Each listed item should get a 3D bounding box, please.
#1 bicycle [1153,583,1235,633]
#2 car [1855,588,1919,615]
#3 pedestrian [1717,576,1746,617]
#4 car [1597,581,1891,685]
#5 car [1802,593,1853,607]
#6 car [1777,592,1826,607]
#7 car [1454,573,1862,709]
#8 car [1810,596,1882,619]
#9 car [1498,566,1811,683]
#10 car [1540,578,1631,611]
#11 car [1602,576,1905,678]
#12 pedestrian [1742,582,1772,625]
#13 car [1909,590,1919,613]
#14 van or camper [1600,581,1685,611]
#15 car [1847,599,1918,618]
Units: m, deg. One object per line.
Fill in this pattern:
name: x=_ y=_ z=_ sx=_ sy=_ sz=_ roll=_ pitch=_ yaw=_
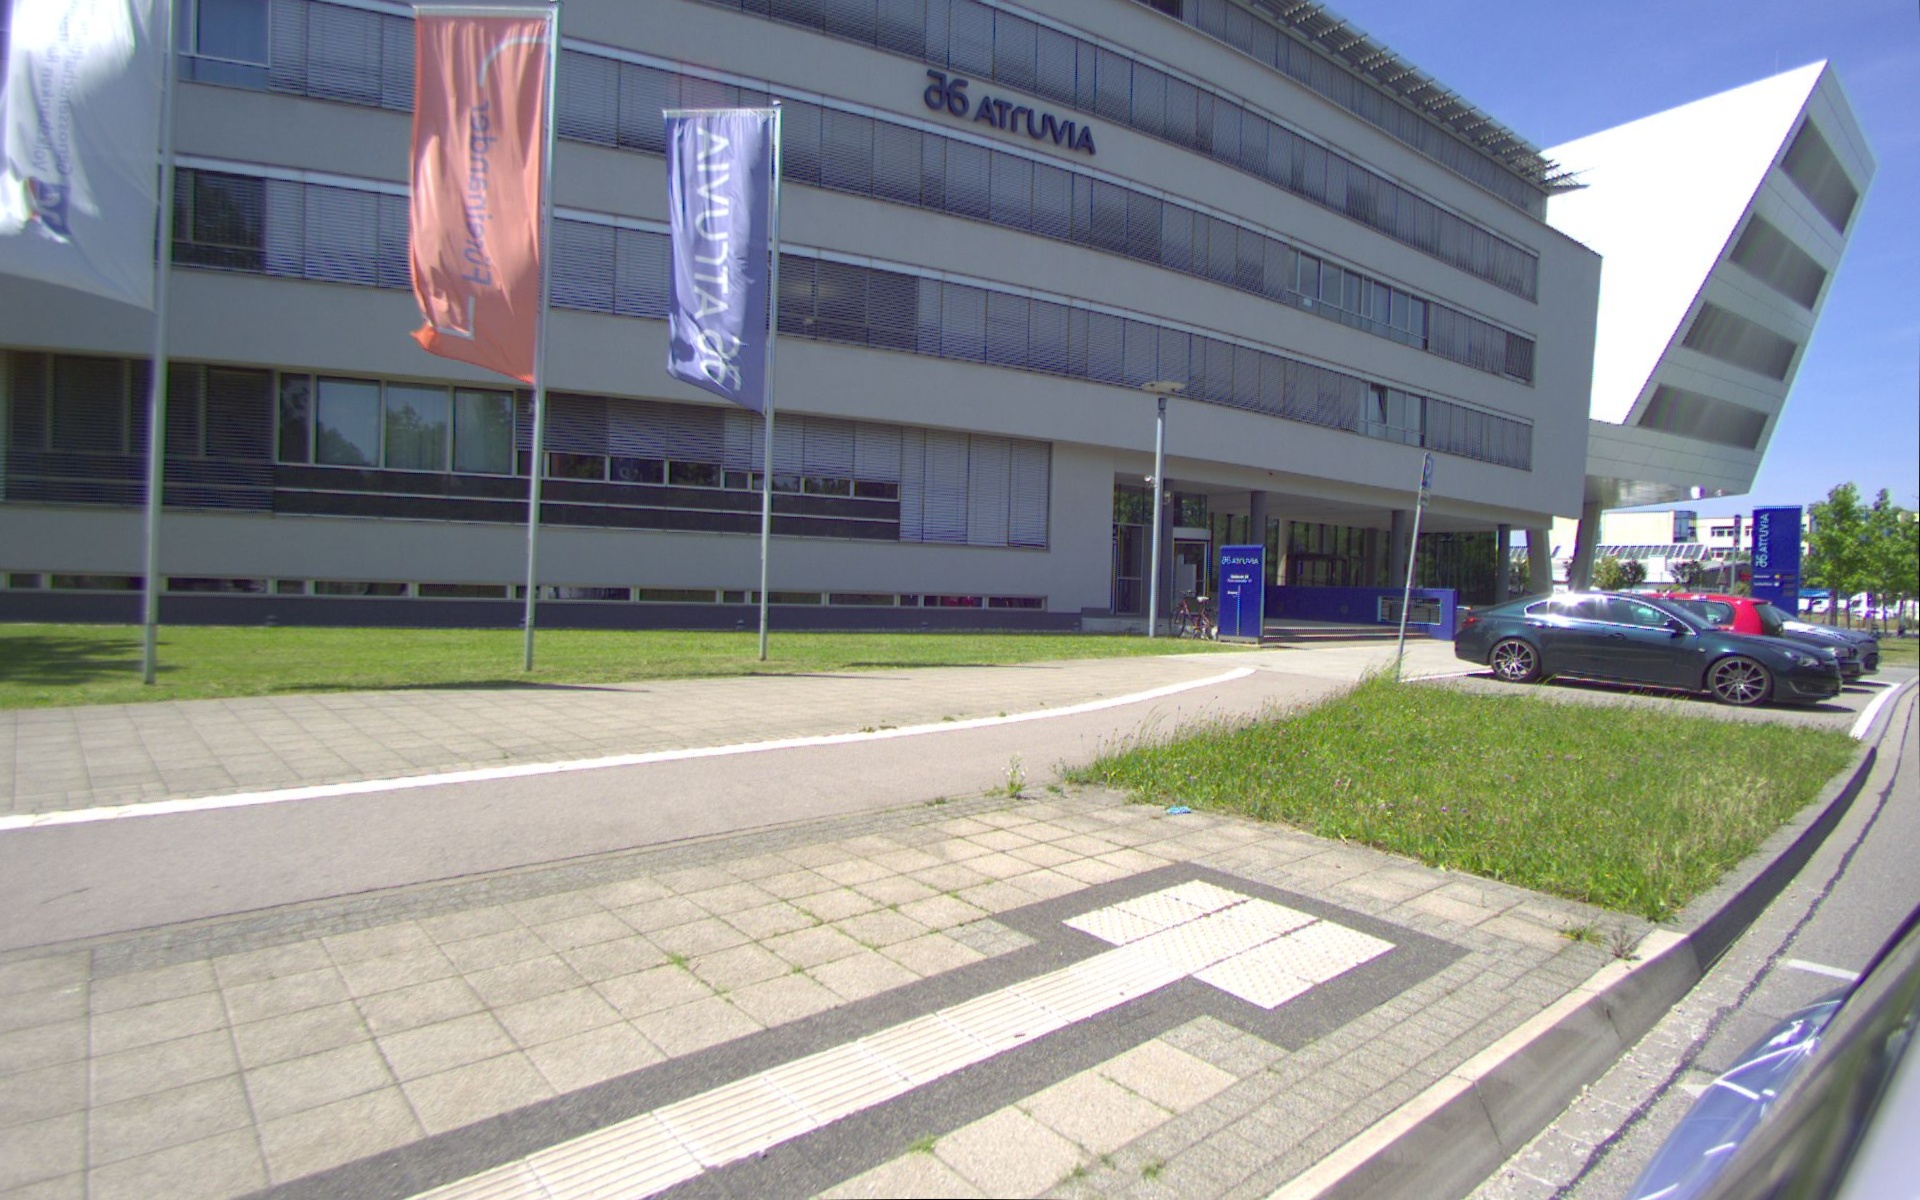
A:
bicycle: x=5.196 y=0.166 z=22.602 sx=0.524 sy=1.073 sz=1.882 roll=0 pitch=1 yaw=-38
car: x=80.063 y=0.121 z=85.411 sx=2.124 sy=2.176 sz=6.499 roll=0 pitch=1 yaw=-36
pedestrian: x=31.702 y=-0.150 z=41.598 sx=0.763 sy=1.681 sz=0.843 roll=0 pitch=0 yaw=-44
car: x=13.680 y=0.488 z=17.840 sx=1.626 sy=1.504 sz=3.816 roll=0 pitch=3 yaw=-40
car: x=102.769 y=-0.007 z=119.987 sx=1.671 sy=1.678 sz=4.325 roll=0 pitch=1 yaw=-36
car: x=93.875 y=-0.061 z=112.979 sx=1.671 sy=1.561 sz=3.921 roll=0 pitch=1 yaw=-36
car: x=9.938 y=0.458 z=14.718 sx=1.797 sy=1.449 sz=4.574 roll=0 pitch=4 yaw=-43
car: x=66.322 y=0.538 z=75.771 sx=1.710 sy=1.695 sz=3.821 roll=0 pitch=1 yaw=-39
car: x=11.558 y=0.307 z=17.059 sx=1.807 sy=1.675 sz=3.996 roll=0 pitch=2 yaw=-40
car: x=47.788 y=-0.450 z=77.410 sx=1.962 sy=2.491 sz=5.587 roll=0 pitch=1 yaw=-36
car: x=15.252 y=0.427 z=19.652 sx=1.755 sy=1.582 sz=4.330 roll=0 pitch=3 yaw=-41
pedestrian: x=32.275 y=0.140 z=40.970 sx=0.763 sy=1.722 sz=0.843 roll=0 pitch=0 yaw=-44
car: x=85.436 y=0.129 z=87.870 sx=1.671 sy=2.000 sz=4.209 roll=0 pitch=1 yaw=-36
van or camper: x=57.528 y=-0.344 z=85.397 sx=1.671 sy=2.420 sz=5.705 roll=0 pitch=1 yaw=-36
car: x=74.130 y=0.638 z=81.354 sx=1.623 sy=1.410 sz=3.996 roll=0 pitch=1 yaw=-39
